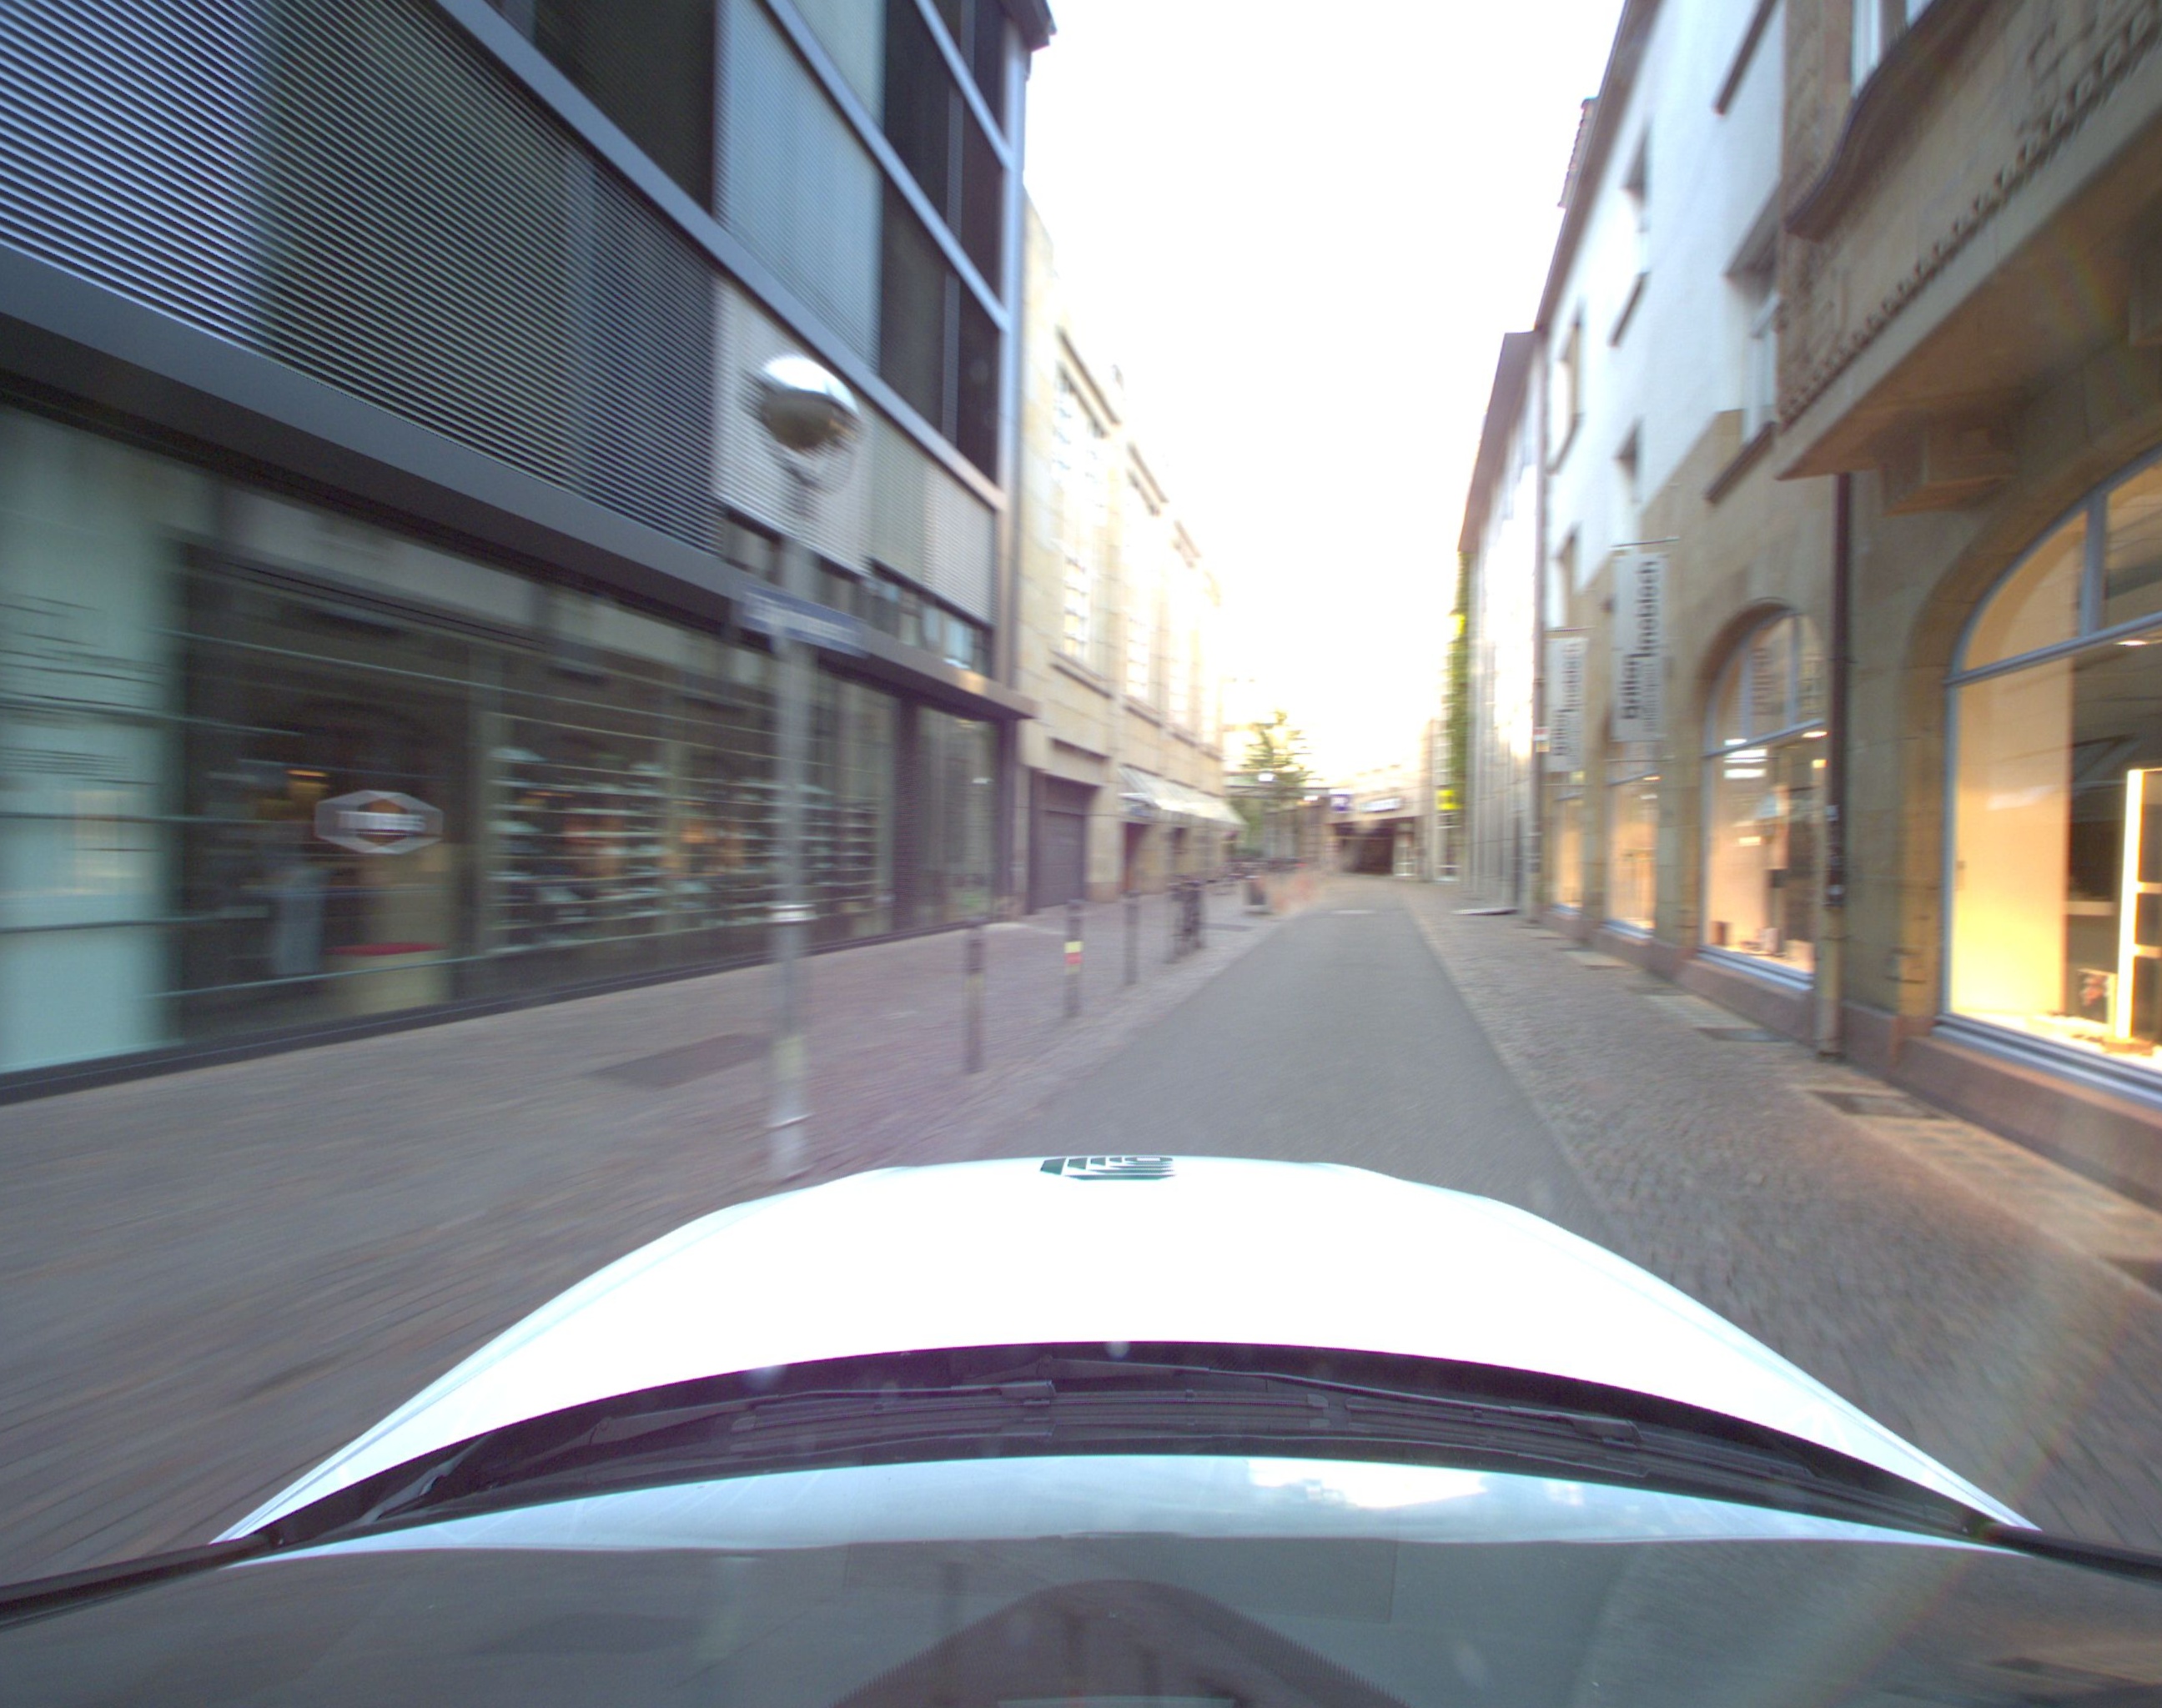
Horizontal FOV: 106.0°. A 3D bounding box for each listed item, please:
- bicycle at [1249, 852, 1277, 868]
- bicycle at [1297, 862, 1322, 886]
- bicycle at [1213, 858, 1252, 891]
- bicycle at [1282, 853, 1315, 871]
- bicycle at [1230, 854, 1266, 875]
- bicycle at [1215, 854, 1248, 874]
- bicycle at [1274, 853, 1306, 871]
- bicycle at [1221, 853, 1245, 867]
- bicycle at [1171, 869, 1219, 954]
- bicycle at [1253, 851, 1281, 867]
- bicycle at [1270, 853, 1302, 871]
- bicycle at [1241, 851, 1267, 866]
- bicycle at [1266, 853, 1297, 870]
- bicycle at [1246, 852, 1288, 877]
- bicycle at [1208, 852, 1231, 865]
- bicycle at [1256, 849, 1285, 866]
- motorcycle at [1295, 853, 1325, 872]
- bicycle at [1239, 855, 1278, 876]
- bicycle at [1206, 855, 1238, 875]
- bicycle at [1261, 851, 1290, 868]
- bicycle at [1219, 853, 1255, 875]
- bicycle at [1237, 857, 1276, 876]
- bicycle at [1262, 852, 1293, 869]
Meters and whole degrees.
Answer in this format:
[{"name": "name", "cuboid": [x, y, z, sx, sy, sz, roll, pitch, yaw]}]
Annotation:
[{"name": "bicycle", "cuboid": [14.170, 0.432, 63.334, 1.987, 1.182, 0.694, -1, 0, 0]}, {"name": "bicycle", "cuboid": [9.648, 0.815, 34.330, 0.500, 0.966, 1.705, 0, 0, 35]}, {"name": "bicycle", "cuboid": [5.317, 0.706, 28.520, 0.687, 1.112, 1.788, 0, 0, 35]}, {"name": "bicycle", "cuboid": [14.464, 0.541, 54.154, 1.987, 1.182, 0.696, -1, 0, 0]}, {"name": "bicycle", "cuboid": [9.219, 0.562, 44.978, 1.905, 1.101, 0.696, 0, 0, 3]}, {"name": "bicycle", "cuboid": [9.199, 0.629, 49.884, 1.905, 1.182, 0.696, 0, 0, 3]}, {"name": "bicycle", "cuboid": [14.157, 0.534, 55.179, 1.987, 1.182, 0.696, -1, 0, 0]}, {"name": "bicycle", "cuboid": [13.453, 0.519, 72.148, 1.987, 1.182, 0.694, -1, 0, 0]}, {"name": "bicycle", "cuboid": [1.762, 0.824, 12.400, 0.407, 1.132, 1.939, 1, 0, 17]}, {"name": "bicycle", "cuboid": [14.218, 0.378, 62.171, 1.987, 1.182, 0.694, -1, 0, 0]}, {"name": "bicycle", "cuboid": [14.141, 0.549, 56.125, 1.987, 1.182, 0.802, -1, 0, 0]}, {"name": "bicycle", "cuboid": [13.989, 0.381, 65.915, 1.987, 1.182, 0.694, -1, 0, 0]}, {"name": "bicycle", "cuboid": [14.106, 0.521, 57.347, 1.987, 1.182, 0.802, -1, 0, 0]}, {"name": "bicycle", "cuboid": [9.392, 0.529, 41.163, 1.907, 1.261, 0.808, 0, 0, 0]}, {"name": "bicycle", "cuboid": [13.244, 0.466, 77.875, 1.987, 1.182, 0.694, -1, 0, 0]}, {"name": "bicycle", "cuboid": [14.187, 0.267, 60.862, 1.987, 1.182, 0.694, -1, 0, 0]}, {"name": "motorcycle", "cuboid": [14.704, 0.552, 52.254, 1.739, 1.155, 0.595, -1, 0, 3]}, {"name": "bicycle", "cuboid": [9.499, 0.632, 43.612, 1.907, 1.101, 0.696, 0, 0, 0]}, {"name": "bicycle", "cuboid": [8.784, 0.678, 50.820, 1.905, 1.182, 0.696, 0, 0, 3]}, {"name": "bicycle", "cuboid": [14.287, 0.412, 59.886, 1.987, 1.182, 0.694, -1, 0, 0]}, {"name": "bicycle", "cuboid": [8.808, 0.569, 46.084, 1.905, 1.182, 0.696, 0, 0, 3]}, {"name": "bicycle", "cuboid": [9.182, 0.658, 42.744, 1.907, 0.994, 0.696, 0, 0, 0]}, {"name": "bicycle", "cuboid": [14.193, 0.478, 58.867, 1.987, 1.182, 0.802, -1, 0, 0]}]
